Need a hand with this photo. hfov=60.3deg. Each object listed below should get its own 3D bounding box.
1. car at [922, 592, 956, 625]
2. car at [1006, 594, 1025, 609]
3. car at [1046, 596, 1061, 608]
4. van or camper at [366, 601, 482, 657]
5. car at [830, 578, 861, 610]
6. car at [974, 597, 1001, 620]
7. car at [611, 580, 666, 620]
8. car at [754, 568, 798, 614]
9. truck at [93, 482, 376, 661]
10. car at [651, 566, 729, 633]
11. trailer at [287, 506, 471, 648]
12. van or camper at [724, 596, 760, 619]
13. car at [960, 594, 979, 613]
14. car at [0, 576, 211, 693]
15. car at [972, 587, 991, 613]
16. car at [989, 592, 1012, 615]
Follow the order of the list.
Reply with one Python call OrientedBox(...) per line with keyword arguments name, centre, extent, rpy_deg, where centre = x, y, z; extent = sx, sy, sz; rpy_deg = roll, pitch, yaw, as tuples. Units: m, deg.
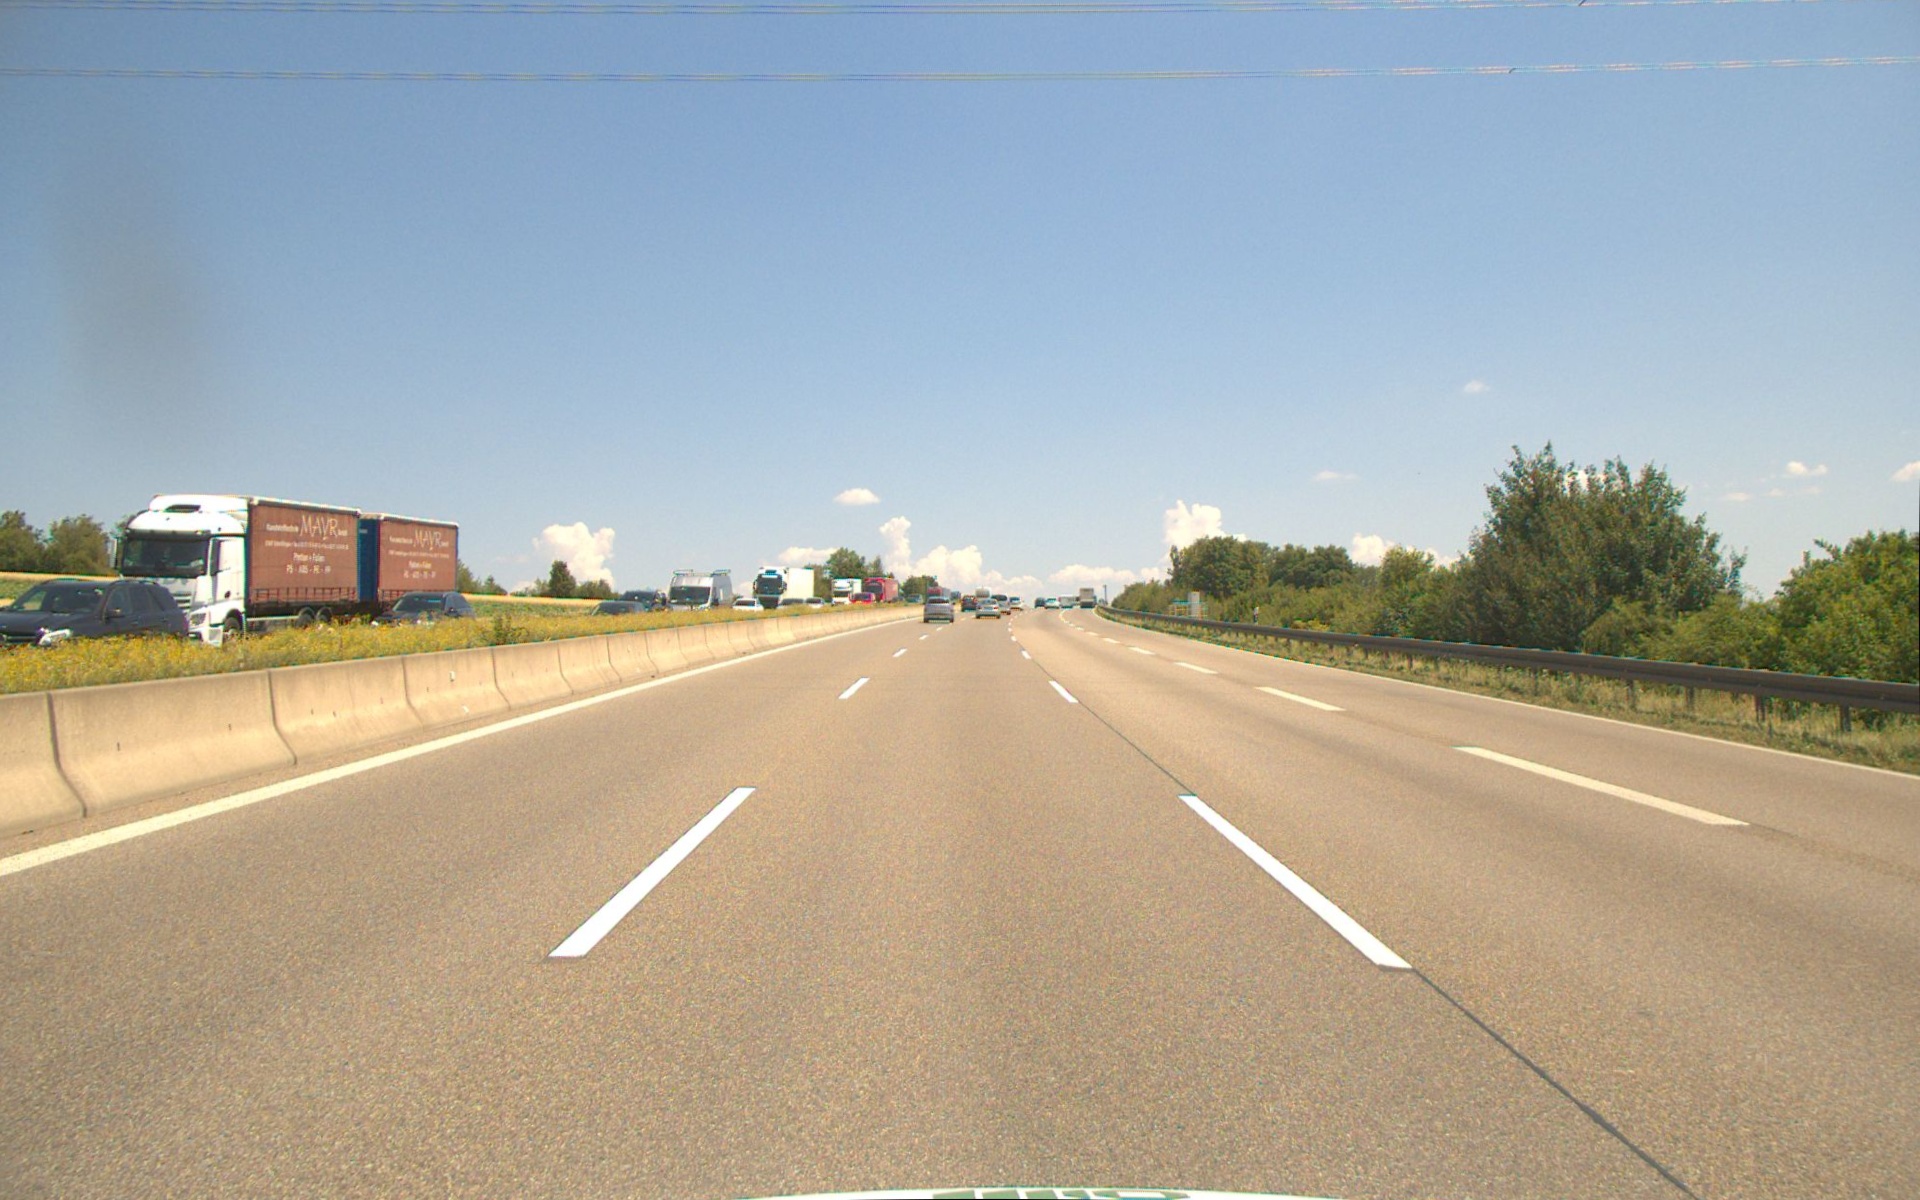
OrientedBox(name="car", centre=(-1.276, 0.551, 100.550), extent=(1.953, 1.781, 3.998), rpy_deg=(1, -3, -1))
OrientedBox(name="car", centre=(6.304, 0.172, 186.935), extent=(1.952, 1.579, 4.002), rpy_deg=(2, 0, 3))
OrientedBox(name="car", centre=(11.873, 0.264, 209.971), extent=(1.862, 1.467, 4.002), rpy_deg=(1, 0, 3))
OrientedBox(name="van or camper", centre=(-14.901, 0.770, 46.173), extent=(1.953, 1.478, 3.999), rpy_deg=(1, 0, -1))
OrientedBox(name="car", centre=(-12.856, -0.664, 186.125), extent=(2.489, 3.438, 8.182), rpy_deg=(1, 0, 2))
OrientedBox(name="car", centre=(2.036, 0.654, 123.633), extent=(1.953, 1.613, 3.999), rpy_deg=(0, -1, 0))
OrientedBox(name="car", centre=(-14.437, 0.005, 74.389), extent=(1.701, 1.699, 3.999), rpy_deg=(1, 0, 0))
OrientedBox(name="car", centre=(-16.012, -0.740, 144.286), extent=(2.489, 3.899, 8.183), rpy_deg=(1, 0, 3))
OrientedBox(name="truck", centre=(-19.280, -0.692, 44.983), extent=(2.828, 4.244, 10.623), rpy_deg=(1, 0, 1))
OrientedBox(name="car", centre=(-11.499, -0.003, 70.958), extent=(2.356, 2.726, 6.036), rpy_deg=(1, 0, 0))
OrientedBox(name="trailer", centre=(-19.048, -0.708, 54.935), extent=(2.719, 4.256, 9.178), rpy_deg=(1, 0, 1))
OrientedBox(name="van or camper", centre=(-13.523, 0.457, 102.942), extent=(1.701, 1.368, 3.999), rpy_deg=(1, -1, 0))
OrientedBox(name="car", centre=(1.008, 0.358, 172.866), extent=(1.809, 1.893, 4.207), rpy_deg=(1, 1, 2))
OrientedBox(name="car", centre=(-15.063, 0.514, 28.502), extent=(1.953, 1.823, 5.213), rpy_deg=(1, 0, -1))
OrientedBox(name="car", centre=(2.421, 0.051, 185.199), extent=(2.135, 2.671, 4.672), rpy_deg=(1, -3, 1))
OrientedBox(name="car", centre=(3.648, 0.326, 148.487), extent=(1.952, 1.937, 4.000), rpy_deg=(0, -3, 2))
